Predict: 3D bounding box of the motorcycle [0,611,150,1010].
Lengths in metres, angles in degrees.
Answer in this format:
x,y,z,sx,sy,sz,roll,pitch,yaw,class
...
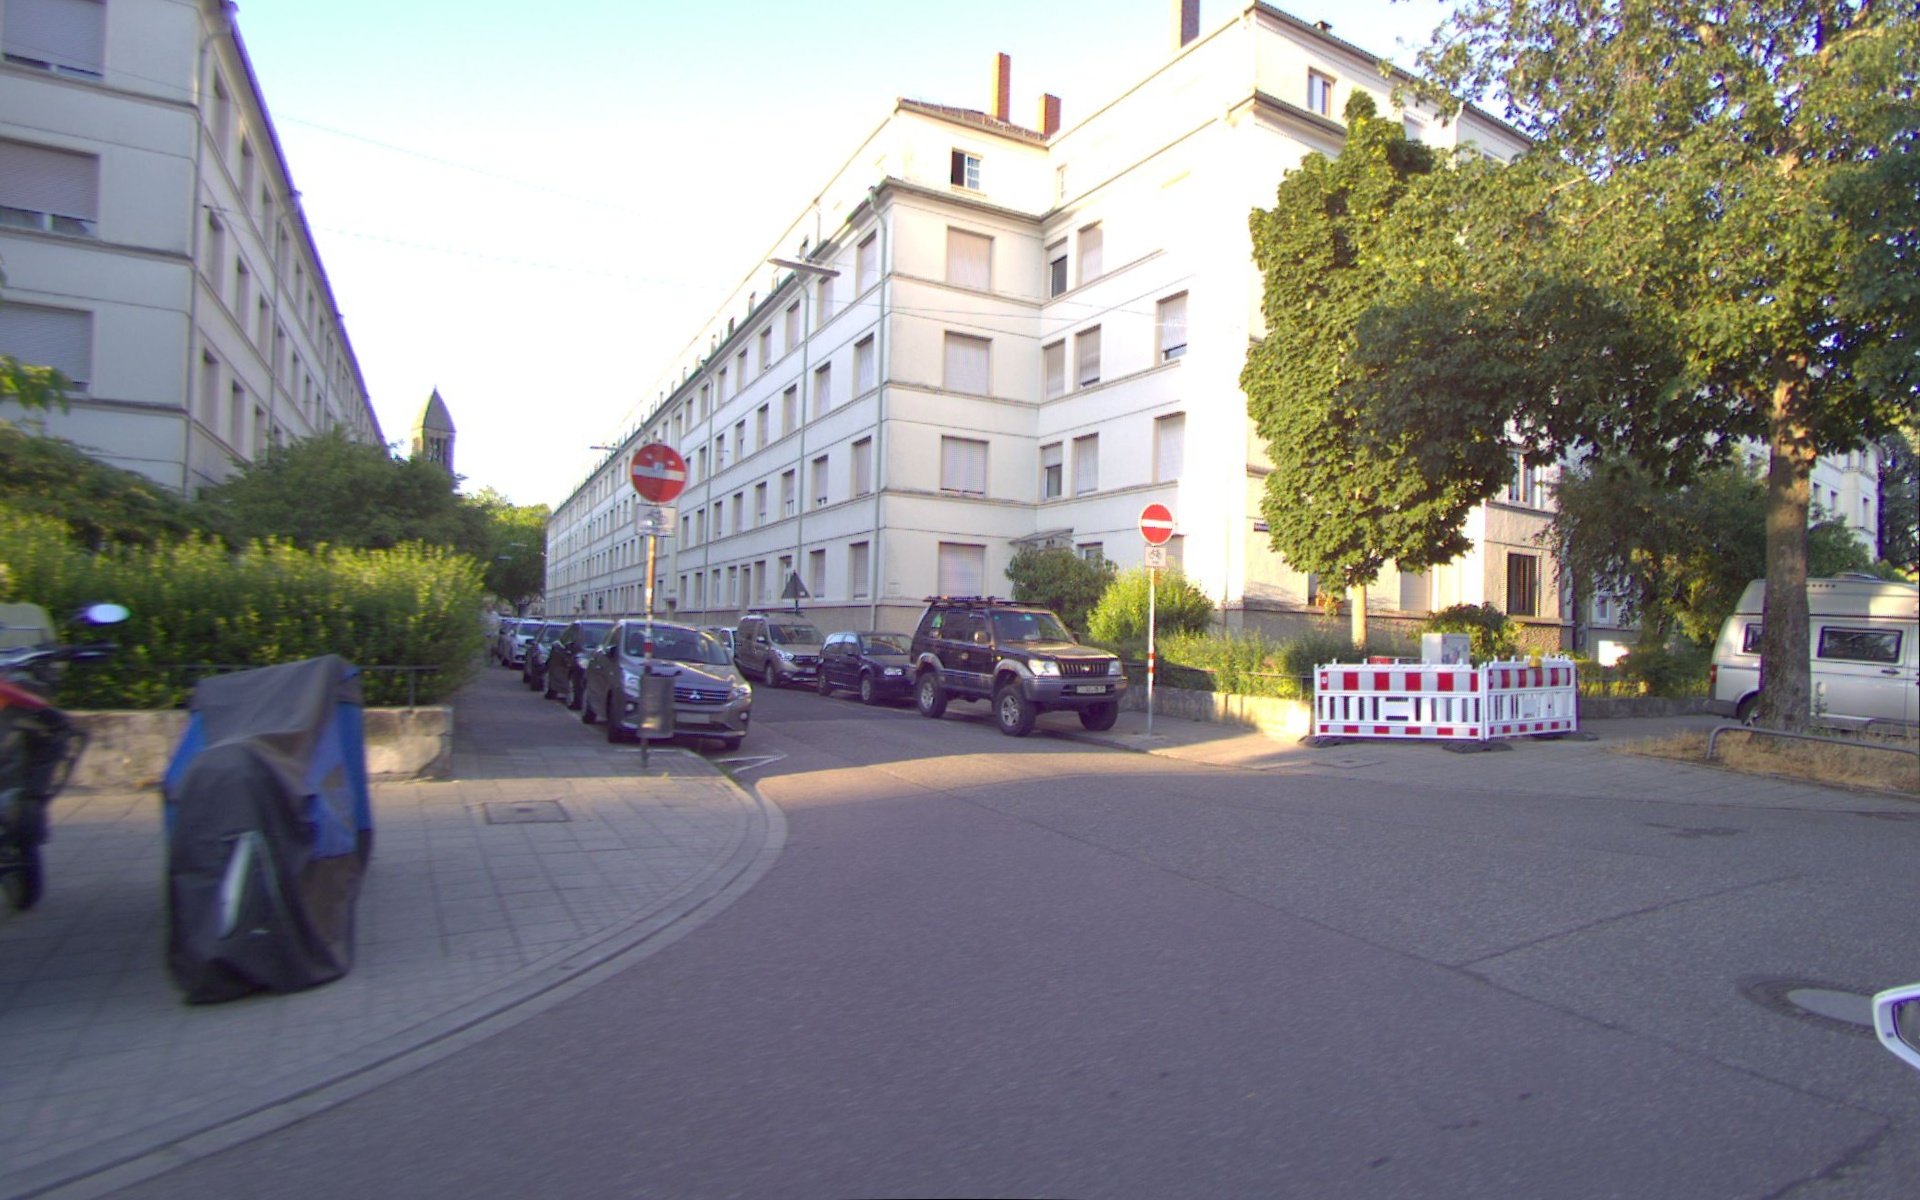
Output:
x,y,z,sx,sy,sz,roll,pitch,yaw,class
-4.138,0.788,4.090,0.763,1.455,2.223,3,-1,-26,motorcycle

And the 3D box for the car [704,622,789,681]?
x,y,z,sx,sy,sz,roll,pitch,yaw,class
-6.524,1.519,30.428,1.630,1.624,3.426,3,-1,-27,car

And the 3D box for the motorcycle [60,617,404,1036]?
x,y,z,sx,sy,sz,roll,pitch,yaw,class
-3.276,0.837,4.820,0.869,1.455,2.375,3,-1,-26,motorcycle

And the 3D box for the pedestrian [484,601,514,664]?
x,y,z,sx,sy,sz,roll,pitch,yaw,class
-14.301,1.004,31.176,0.727,1.900,0.733,3,-1,-28,pedestrian

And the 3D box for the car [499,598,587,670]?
x,y,z,sx,sy,sz,roll,pitch,yaw,class
-12.214,0.962,29.310,1.975,1.924,3.971,3,-1,-28,car

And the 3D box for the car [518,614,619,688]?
x,y,z,sx,sy,sz,roll,pitch,yaw,class
-8.635,1.074,21.994,1.621,1.431,3.660,3,-1,-27,car

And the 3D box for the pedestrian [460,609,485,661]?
x,y,z,sx,sy,sz,roll,pitch,yaw,class
-18.038,1.297,37.162,0.727,1.900,0.733,3,-2,-28,pedestrian

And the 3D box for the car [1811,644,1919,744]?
x,y,z,sx,sy,sz,roll,pitch,yaw,class
16.780,1.649,16.613,1.635,1.543,3.781,3,0,-32,car

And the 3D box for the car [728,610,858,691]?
x,y,z,sx,sy,sz,roll,pitch,yaw,class
-4.314,1.232,25.466,1.976,1.842,3.969,3,-1,-29,car

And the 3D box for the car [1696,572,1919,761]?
x,y,z,sx,sy,sz,roll,pitch,yaw,class
13.930,0.957,14.678,1.976,2.603,4.711,3,-1,-29,car

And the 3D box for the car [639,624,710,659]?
x,y,z,sx,sy,sz,roll,pitch,yaw,class
-11.626,1.641,40.697,1.975,1.288,3.971,2,-2,-28,car

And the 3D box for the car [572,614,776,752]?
x,y,z,sx,sy,sz,roll,pitch,yaw,class
-3.850,0.971,13.087,1.806,1.483,3.751,3,-1,-27,car

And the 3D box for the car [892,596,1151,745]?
x,y,z,sx,sy,sz,roll,pitch,yaw,class
0.812,1.016,16.306,1.977,2.040,4.555,3,-1,-30,car

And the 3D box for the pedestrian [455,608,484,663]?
x,y,z,sx,sy,sz,roll,pitch,yaw,class
-14.996,1.078,30.708,0.727,1.658,0.811,2,-1,-28,pedestrian

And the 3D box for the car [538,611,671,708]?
x,y,z,sx,sy,sz,roll,pitch,yaw,class
-6.329,0.987,17.679,1.706,1.511,3.446,3,-1,-28,car

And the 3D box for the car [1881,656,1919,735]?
x,y,z,sx,sy,sz,roll,pitch,yaw,class
19.151,1.819,17.532,1.665,1.412,4.223,3,-1,-30,car

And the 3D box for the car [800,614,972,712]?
x,y,z,sx,sy,sz,roll,pitch,yaw,class
-1.661,1.257,21.171,1.978,1.805,3.966,3,-1,-31,car
